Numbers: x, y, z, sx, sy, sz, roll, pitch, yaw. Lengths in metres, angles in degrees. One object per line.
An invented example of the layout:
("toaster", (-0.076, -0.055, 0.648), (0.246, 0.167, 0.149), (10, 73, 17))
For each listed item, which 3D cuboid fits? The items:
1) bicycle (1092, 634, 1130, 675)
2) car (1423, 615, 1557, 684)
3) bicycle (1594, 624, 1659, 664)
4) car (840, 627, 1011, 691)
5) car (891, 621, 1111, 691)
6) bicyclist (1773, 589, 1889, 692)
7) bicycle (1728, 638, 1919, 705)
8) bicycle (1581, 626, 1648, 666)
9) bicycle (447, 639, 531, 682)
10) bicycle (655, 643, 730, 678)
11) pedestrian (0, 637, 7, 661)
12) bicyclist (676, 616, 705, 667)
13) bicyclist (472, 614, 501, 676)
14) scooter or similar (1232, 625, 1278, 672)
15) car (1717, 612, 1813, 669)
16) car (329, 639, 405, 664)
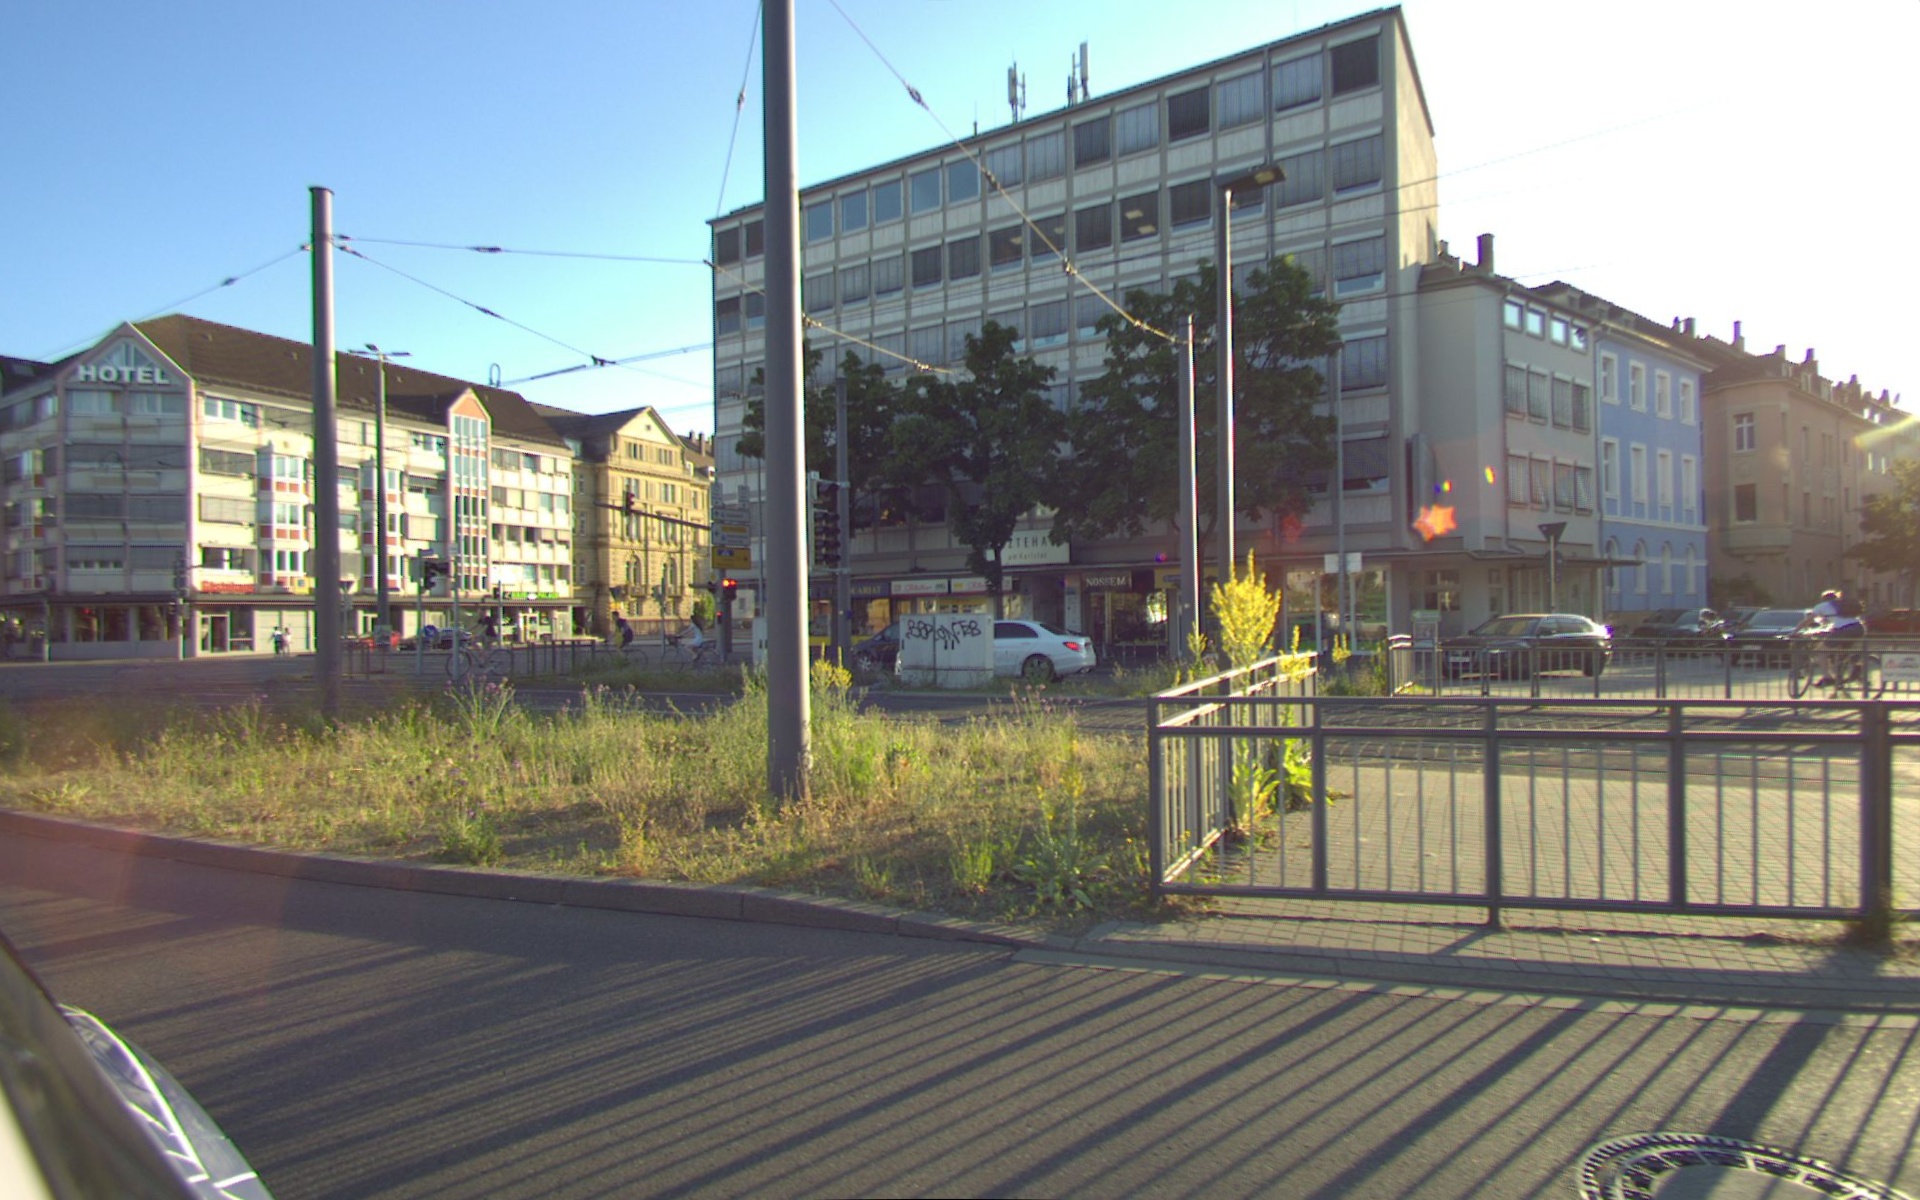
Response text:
("bicycle", (4.608, 1.644, 30.798), (0.536, 1.194, 1.620), (-2, -1, 31))
("car", (12.580, 1.110, 23.882), (1.737, 1.447, 4.310), (-2, -2, 42))
("bicycle", (21.641, 1.413, 32.868), (0.478, 1.195, 1.689), (1, 0, -41))
("car", (-0.956, 1.571, 27.557), (4.286, 1.586, 1.979), (-2, -2, 31))
("car", (0.951, 1.256, 23.018), (4.625, 1.452, 2.027), (-2, -1, 20))
("bicyclist", (12.756, 0.583, 14.849), (0.822, 1.452, 0.932), (0, -1, -9))
("bicycle", (12.753, 1.006, 14.834), (0.833, 0.853, 2.428), (0, -1, -11))
("bicycle", (20.737, 1.445, 32.087), (0.531, 1.195, 1.720), (1, 0, -41))
("bicycle", (-12.663, 1.609, 27.216), (2.022, 1.084, 0.759), (0, -2, -26))
("bicycle", (-7.407, 1.673, 28.085), (1.925, 0.937, 0.725), (-1, -2, -4))
("pedestrian", (-62.367, 3.156, 65.548), (0.902, 1.560, 0.701), (-2, -2, 27))
("bicyclist", (-7.476, 1.153, 28.094), (0.674, 1.380, 0.716), (-1, -2, -5))
("bicyclist", (-12.725, 1.210, 27.206), (0.688, 1.624, 0.740), (0, -2, -25))
("scooter or similar", (8.501, 1.389, 29.143), (1.259, 1.332, 0.516), (0, -2, -29))
("car", (24.013, 1.170, 30.321), (1.881, 1.586, 4.201), (-2, -2, 34))
("car", (-36.790, 3.175, 62.841), (1.640, 1.433, 3.863), (-2, -2, 25))
